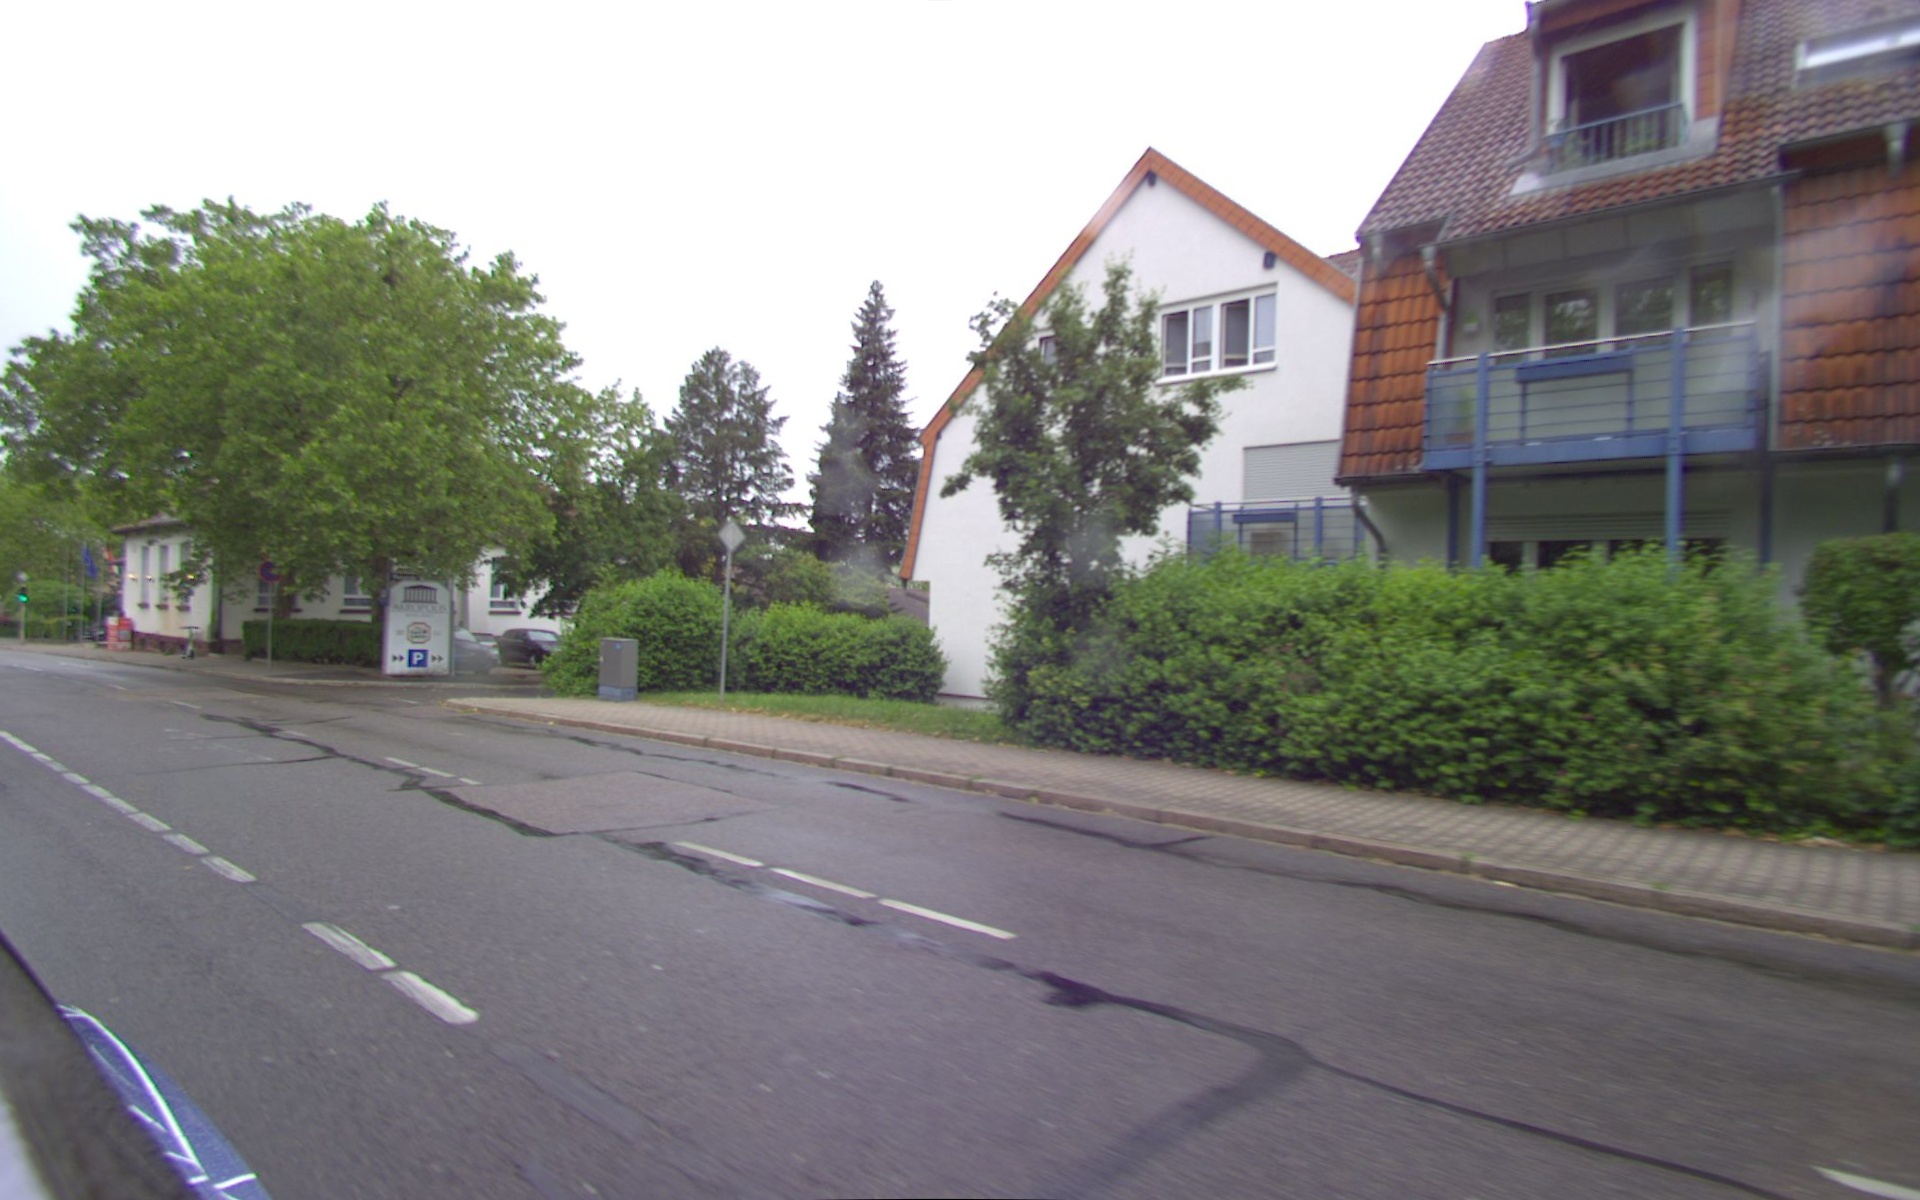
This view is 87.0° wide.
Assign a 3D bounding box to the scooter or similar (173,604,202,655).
[{"bbox_3d":[-27.475,1.034,35.988,1.509,1.788,0.397,0,0,36],"label":"scooter or similar"}]

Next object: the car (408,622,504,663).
[{"bbox_3d":[-20.425,1.701,40.968,4.280,1.452,1.734,0,-4,39],"label":"car"}]

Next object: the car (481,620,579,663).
[{"bbox_3d":[-18.272,1.756,42.914,4.251,1.698,1.975,-1,-3,38],"label":"car"}]
